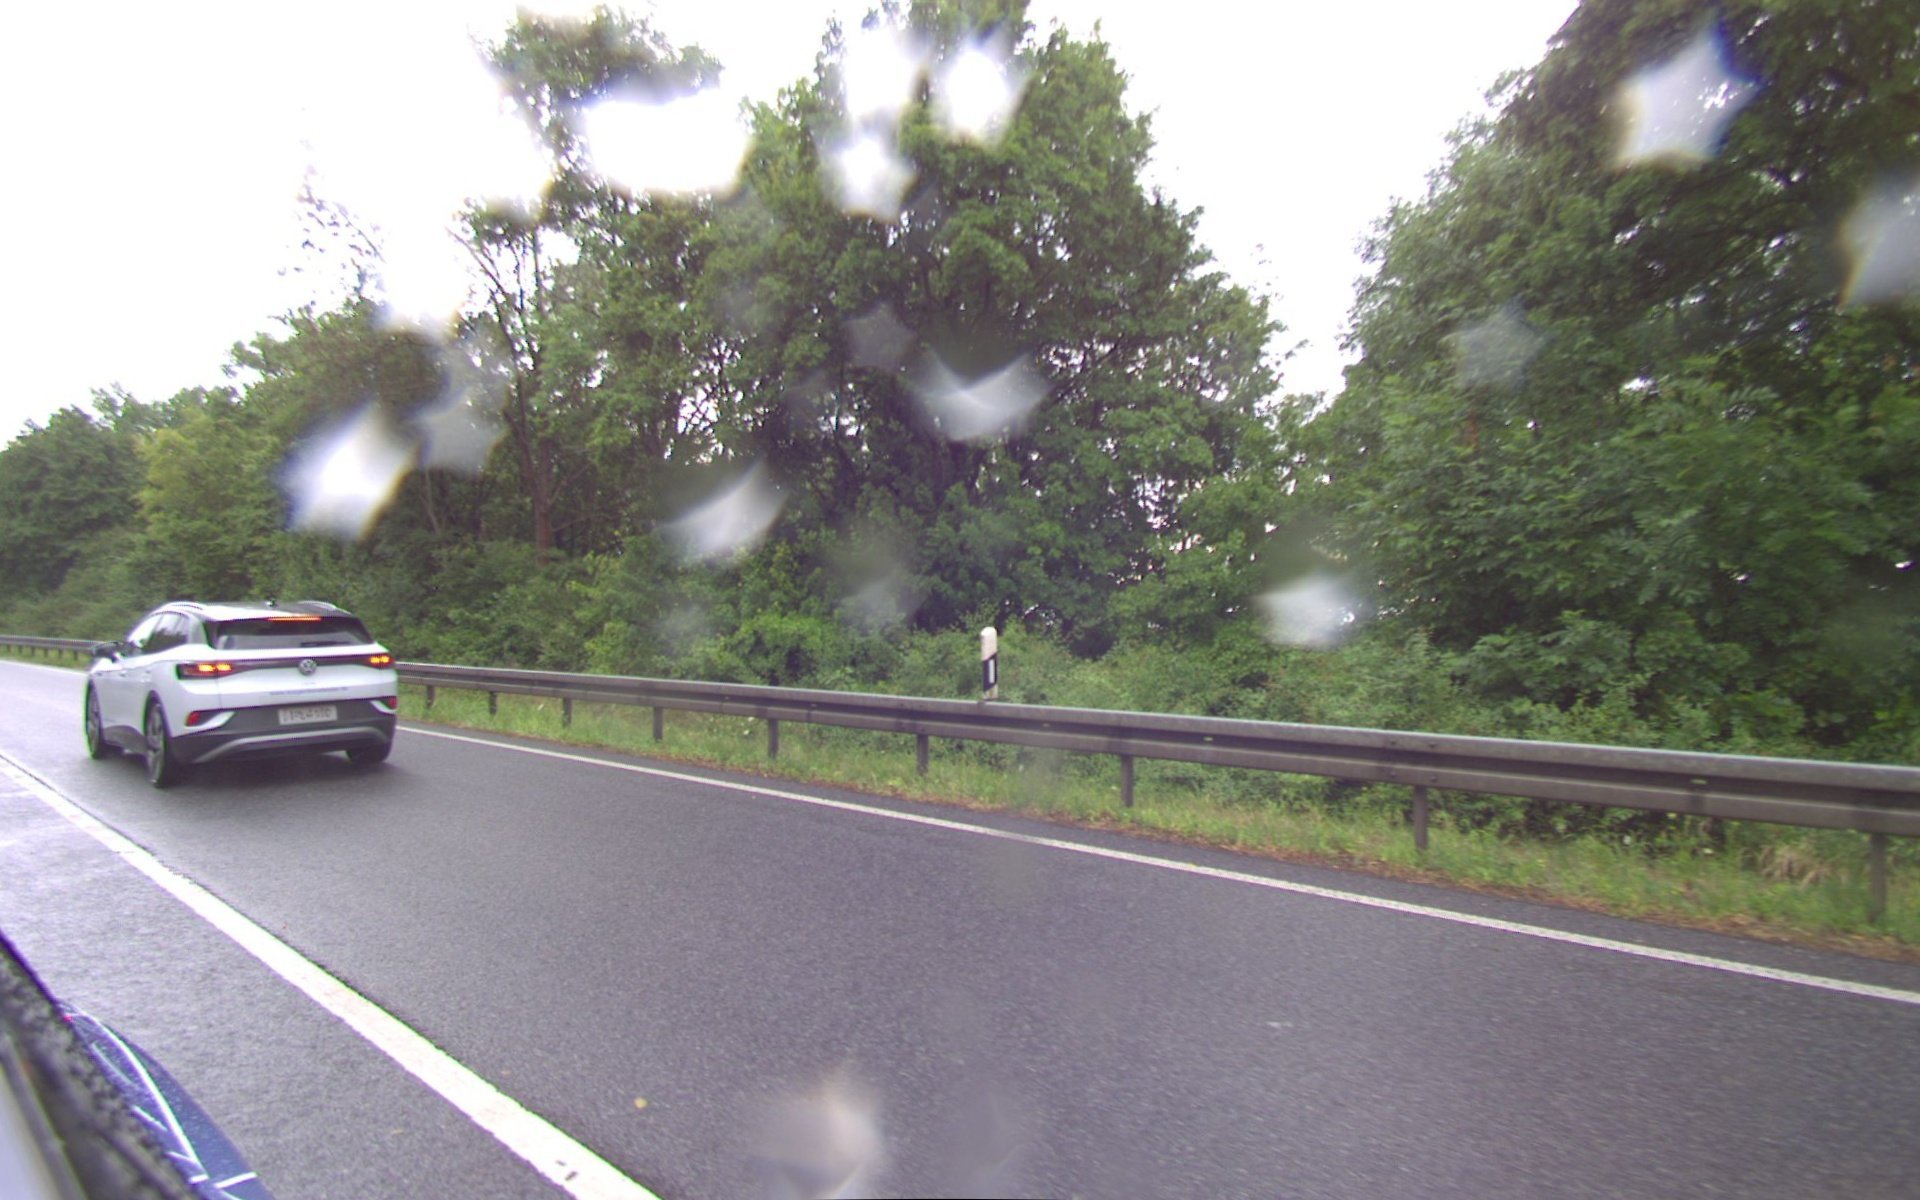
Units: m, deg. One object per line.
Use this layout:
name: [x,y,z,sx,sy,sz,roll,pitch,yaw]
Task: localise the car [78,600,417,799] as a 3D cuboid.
car: [-7.115,0.810,9.940,4.204,1.544,1.788,-1,-1,41]
